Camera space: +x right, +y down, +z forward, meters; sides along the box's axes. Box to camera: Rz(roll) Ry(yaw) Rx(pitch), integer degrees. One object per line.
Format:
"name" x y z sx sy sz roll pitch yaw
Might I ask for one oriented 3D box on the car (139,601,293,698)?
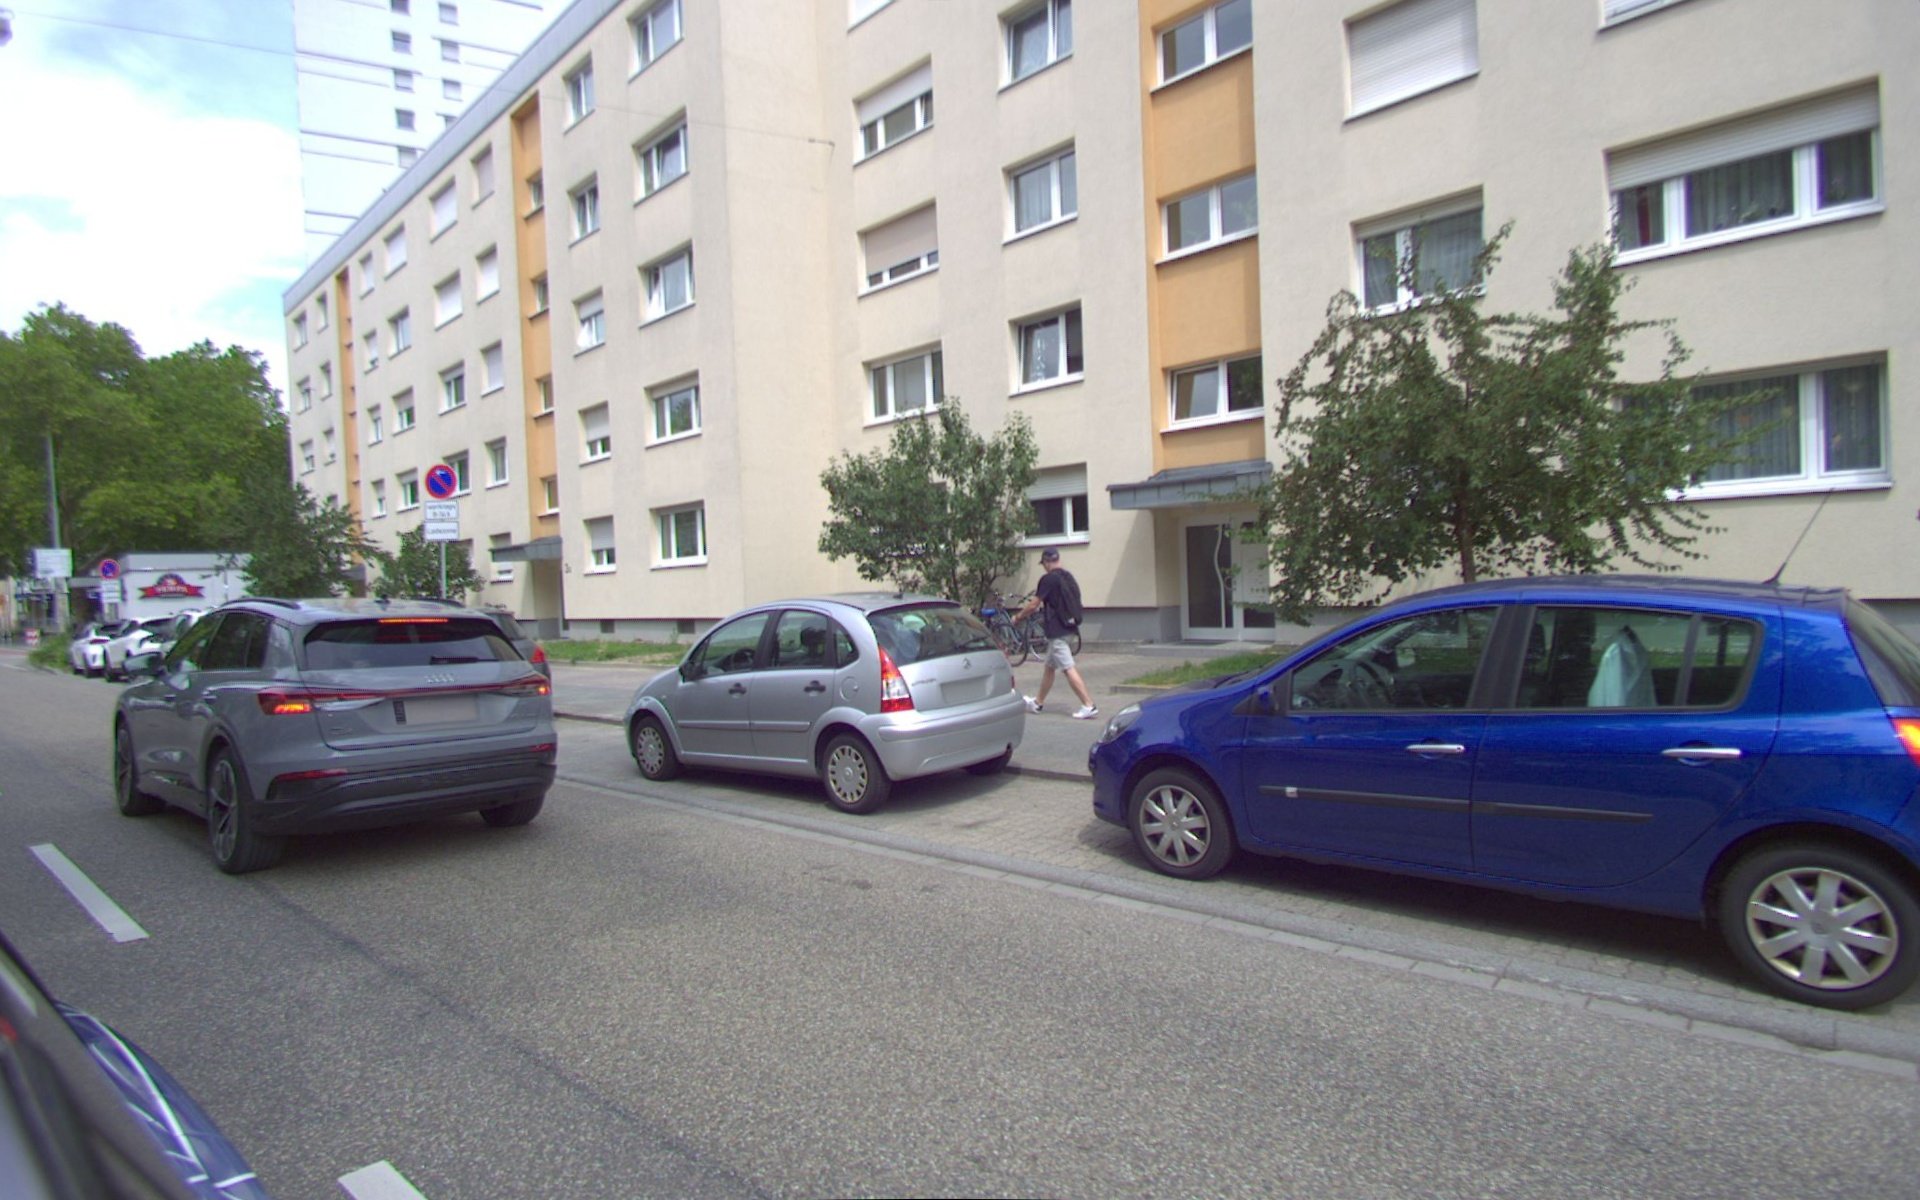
"car" -14.901 0.921 20.174 4.478 1.624 1.679 -1 2 44

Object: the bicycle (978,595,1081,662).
"bicycle" 1.089 0.448 16.115 1.673 0.993 0.435 -2 2 42

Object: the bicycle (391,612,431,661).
"bicycle" -14.859 0.991 27.365 0.571 1.260 1.937 -3 0 -38

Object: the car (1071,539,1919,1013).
"car" 2.657 0.552 4.829 3.885 1.494 1.798 -1 2 43

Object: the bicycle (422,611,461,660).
"bicycle" -14.244 0.977 27.782 0.529 1.260 2.049 -3 0 -38

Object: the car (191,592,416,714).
"car" -10.892 0.788 16.641 4.861 1.624 1.921 -1 2 43

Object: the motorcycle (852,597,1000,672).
"motorcycle" -0.529 0.496 14.827 2.316 0.993 0.655 -2 2 42

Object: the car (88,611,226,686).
"car" -18.789 1.091 23.625 3.985 1.483 1.692 -2 2 40

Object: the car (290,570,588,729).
"car" -6.768 0.550 12.955 4.301 1.624 1.922 -2 2 42

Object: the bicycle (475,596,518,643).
"bicycle" -13.076 0.550 28.516 0.549 1.260 1.920 -3 0 -40

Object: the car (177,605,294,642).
"car" -36.126 1.144 50.527 4.576 1.699 1.851 -1 0 -43

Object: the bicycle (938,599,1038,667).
"bicycle" 0.414 0.505 15.636 1.615 0.993 0.435 -2 2 42

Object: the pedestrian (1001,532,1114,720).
"pedestrian" 0.994 0.248 10.346 0.898 1.826 0.613 -2 2 39

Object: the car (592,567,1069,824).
"car" -1.199 0.623 8.271 3.849 1.573 1.653 -2 2 41

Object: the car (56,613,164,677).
"car" -22.805 1.167 27.116 3.989 1.483 1.690 -1 2 43

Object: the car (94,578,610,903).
"car" -4.477 0.725 7.125 4.433 1.597 1.799 -2 0 41
